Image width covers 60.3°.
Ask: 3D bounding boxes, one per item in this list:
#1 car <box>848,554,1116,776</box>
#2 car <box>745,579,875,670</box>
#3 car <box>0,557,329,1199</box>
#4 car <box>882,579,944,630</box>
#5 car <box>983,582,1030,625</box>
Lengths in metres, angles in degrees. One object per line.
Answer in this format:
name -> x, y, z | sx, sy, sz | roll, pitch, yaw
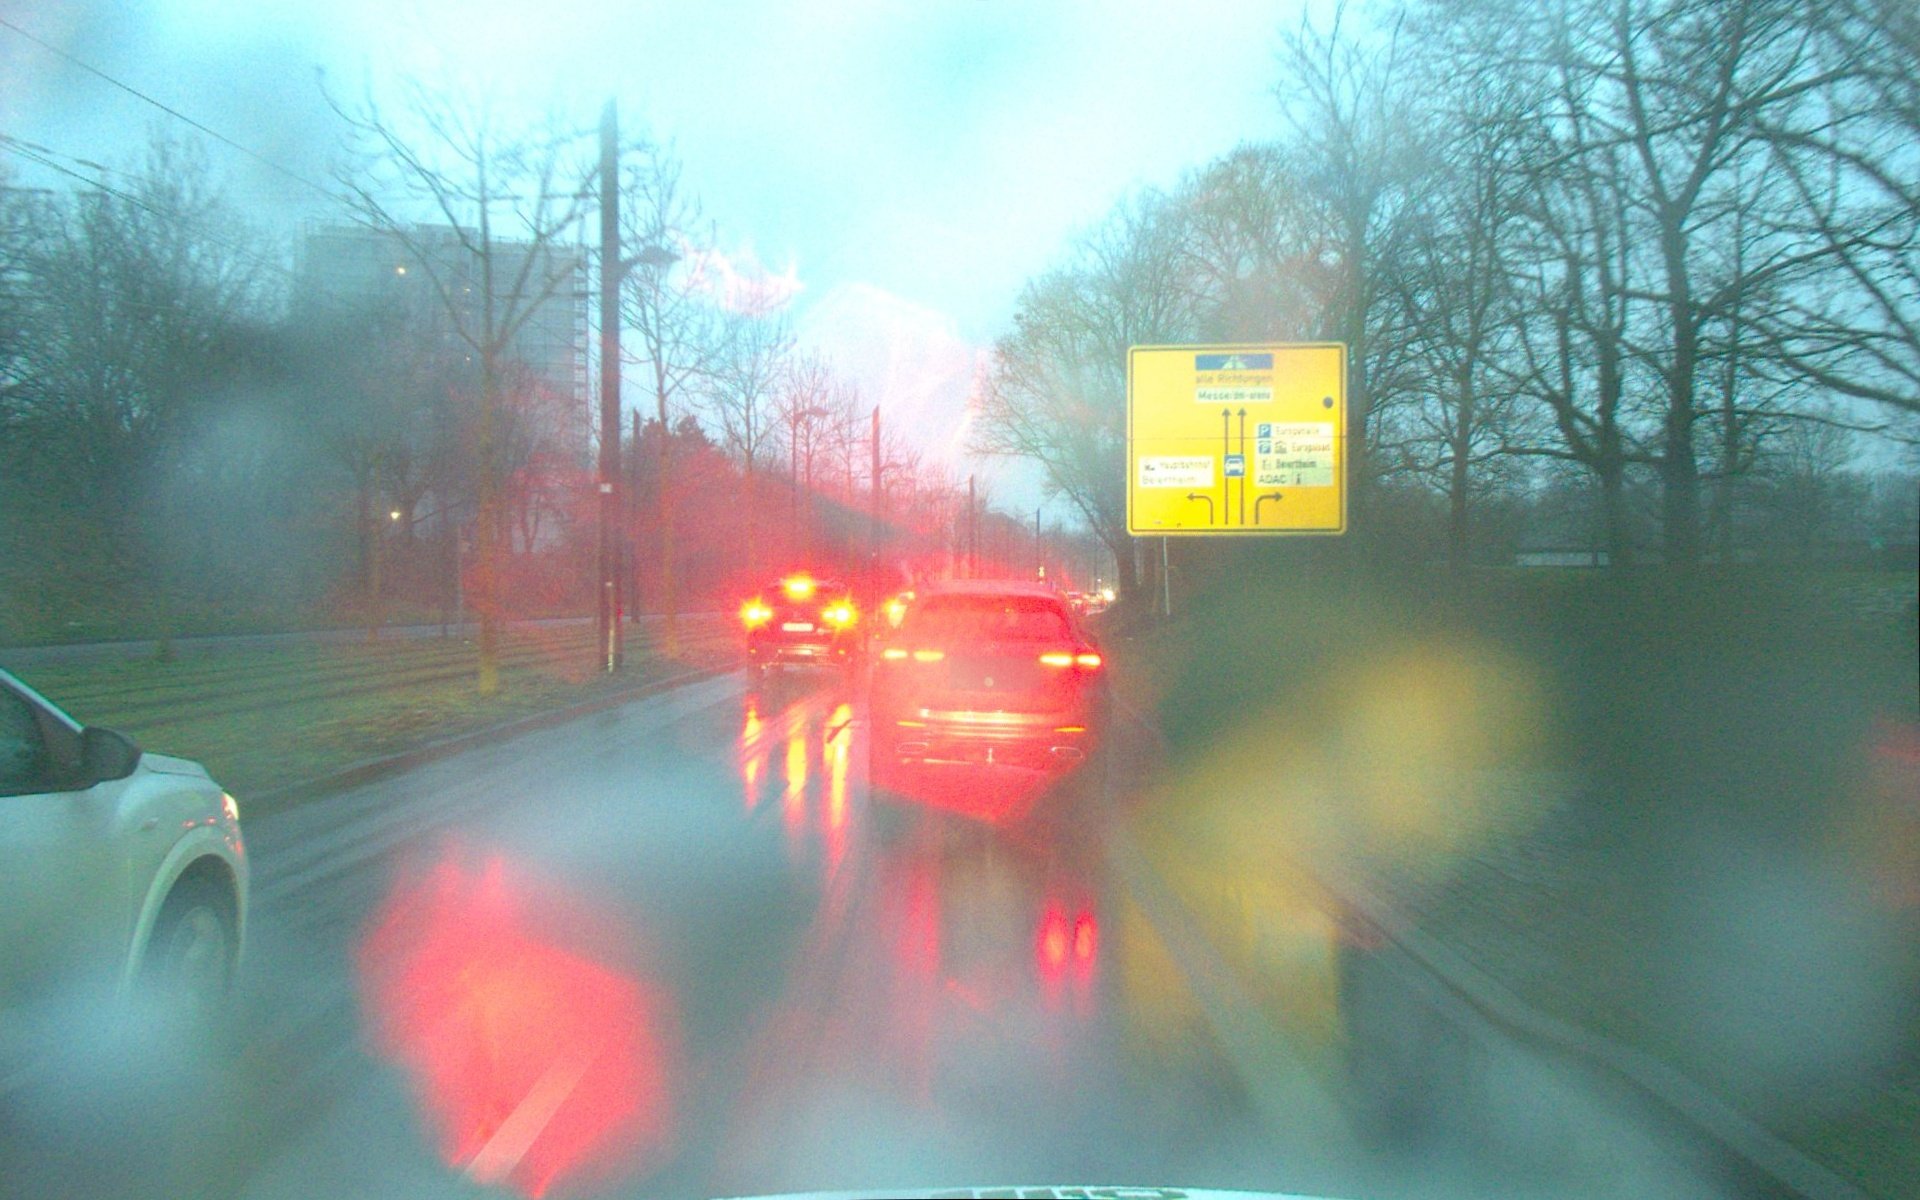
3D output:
car -> 0.184, 0.451, 14.155 | 1.957, 1.611, 4.001 | 1, 1, 1
car -> -2.576, 0.383, 29.231 | 1.841, 1.485, 4.001 | 0, 1, 1
car -> -3.024, 0.677, 3.607 | 1.673, 1.551, 4.135 | 0, 0, 1
car -> -1.556, 0.130, 55.644 | 1.841, 1.621, 4.001 | 0, 1, 2
car -> 1.795, 0.116, 63.215 | 1.673, 1.585, 3.998 | 0, 0, 3
